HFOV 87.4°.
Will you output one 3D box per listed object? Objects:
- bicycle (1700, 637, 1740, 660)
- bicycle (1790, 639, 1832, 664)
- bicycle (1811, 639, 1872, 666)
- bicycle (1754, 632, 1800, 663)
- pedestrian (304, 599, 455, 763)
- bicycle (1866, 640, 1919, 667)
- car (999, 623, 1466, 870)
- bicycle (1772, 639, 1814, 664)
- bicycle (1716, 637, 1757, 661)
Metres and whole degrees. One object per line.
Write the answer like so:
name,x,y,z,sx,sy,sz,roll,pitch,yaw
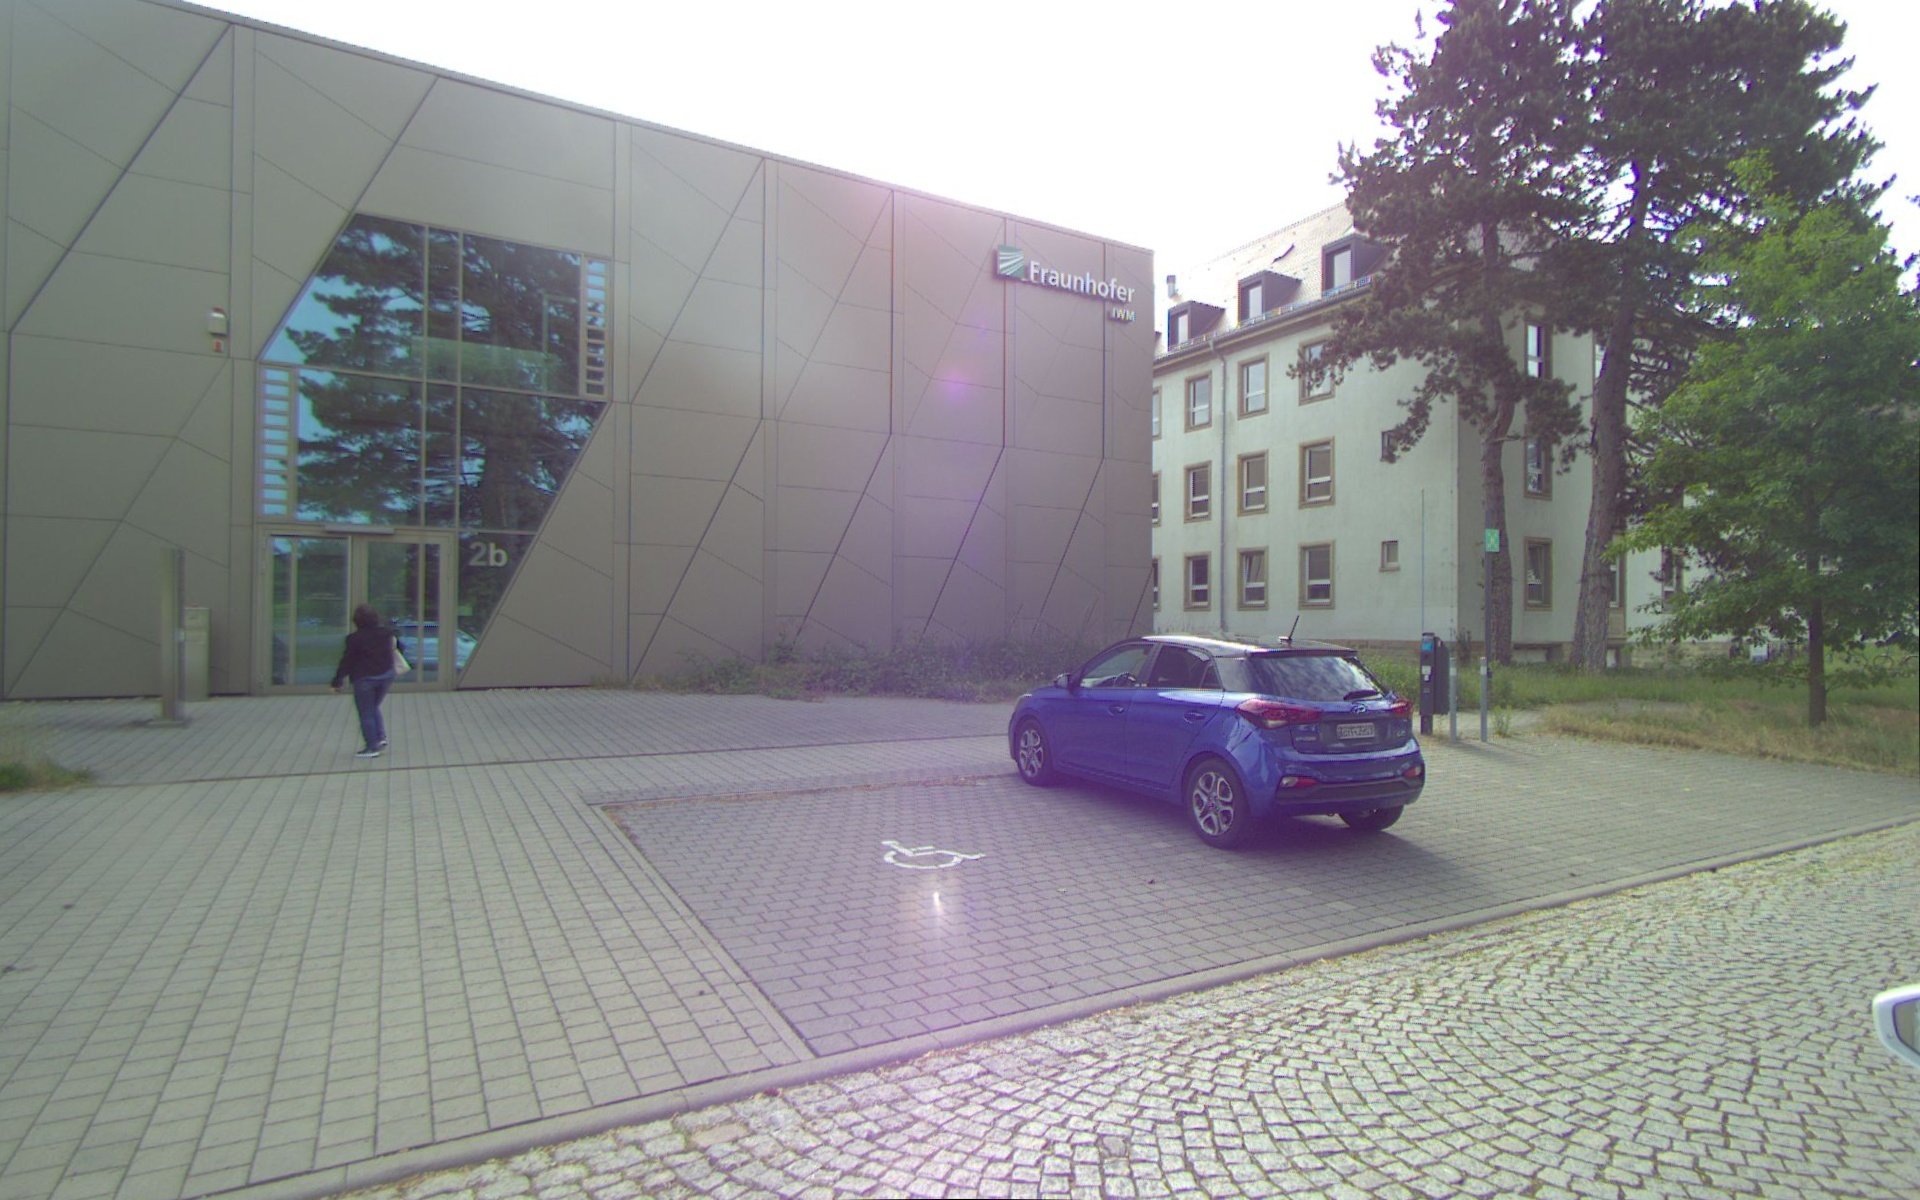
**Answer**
bicycle,36.406,2.318,48.112,2.246,1.090,0.732,1,-2,-30
bicycle,38.155,2.292,45.017,2.246,1.090,0.732,1,-2,-30
bicycle,37.806,2.228,43.092,0.729,1.090,1.849,1,-2,-27
bicycle,37.722,2.180,46.367,2.679,1.404,0.732,1,-2,-30
pedestrian,-5.792,0.779,10.060,0.967,1.514,0.819,3,0,17
bicycle,38.748,2.203,41.464,0.821,1.090,1.849,1,-2,-27
car,2.034,1.003,8.589,1.828,1.497,3.752,1,0,-27
bicycle,37.777,2.309,45.537,2.246,1.090,0.732,1,-2,-30
bicycle,36.698,2.306,47.436,2.246,1.090,0.732,1,-2,-30
